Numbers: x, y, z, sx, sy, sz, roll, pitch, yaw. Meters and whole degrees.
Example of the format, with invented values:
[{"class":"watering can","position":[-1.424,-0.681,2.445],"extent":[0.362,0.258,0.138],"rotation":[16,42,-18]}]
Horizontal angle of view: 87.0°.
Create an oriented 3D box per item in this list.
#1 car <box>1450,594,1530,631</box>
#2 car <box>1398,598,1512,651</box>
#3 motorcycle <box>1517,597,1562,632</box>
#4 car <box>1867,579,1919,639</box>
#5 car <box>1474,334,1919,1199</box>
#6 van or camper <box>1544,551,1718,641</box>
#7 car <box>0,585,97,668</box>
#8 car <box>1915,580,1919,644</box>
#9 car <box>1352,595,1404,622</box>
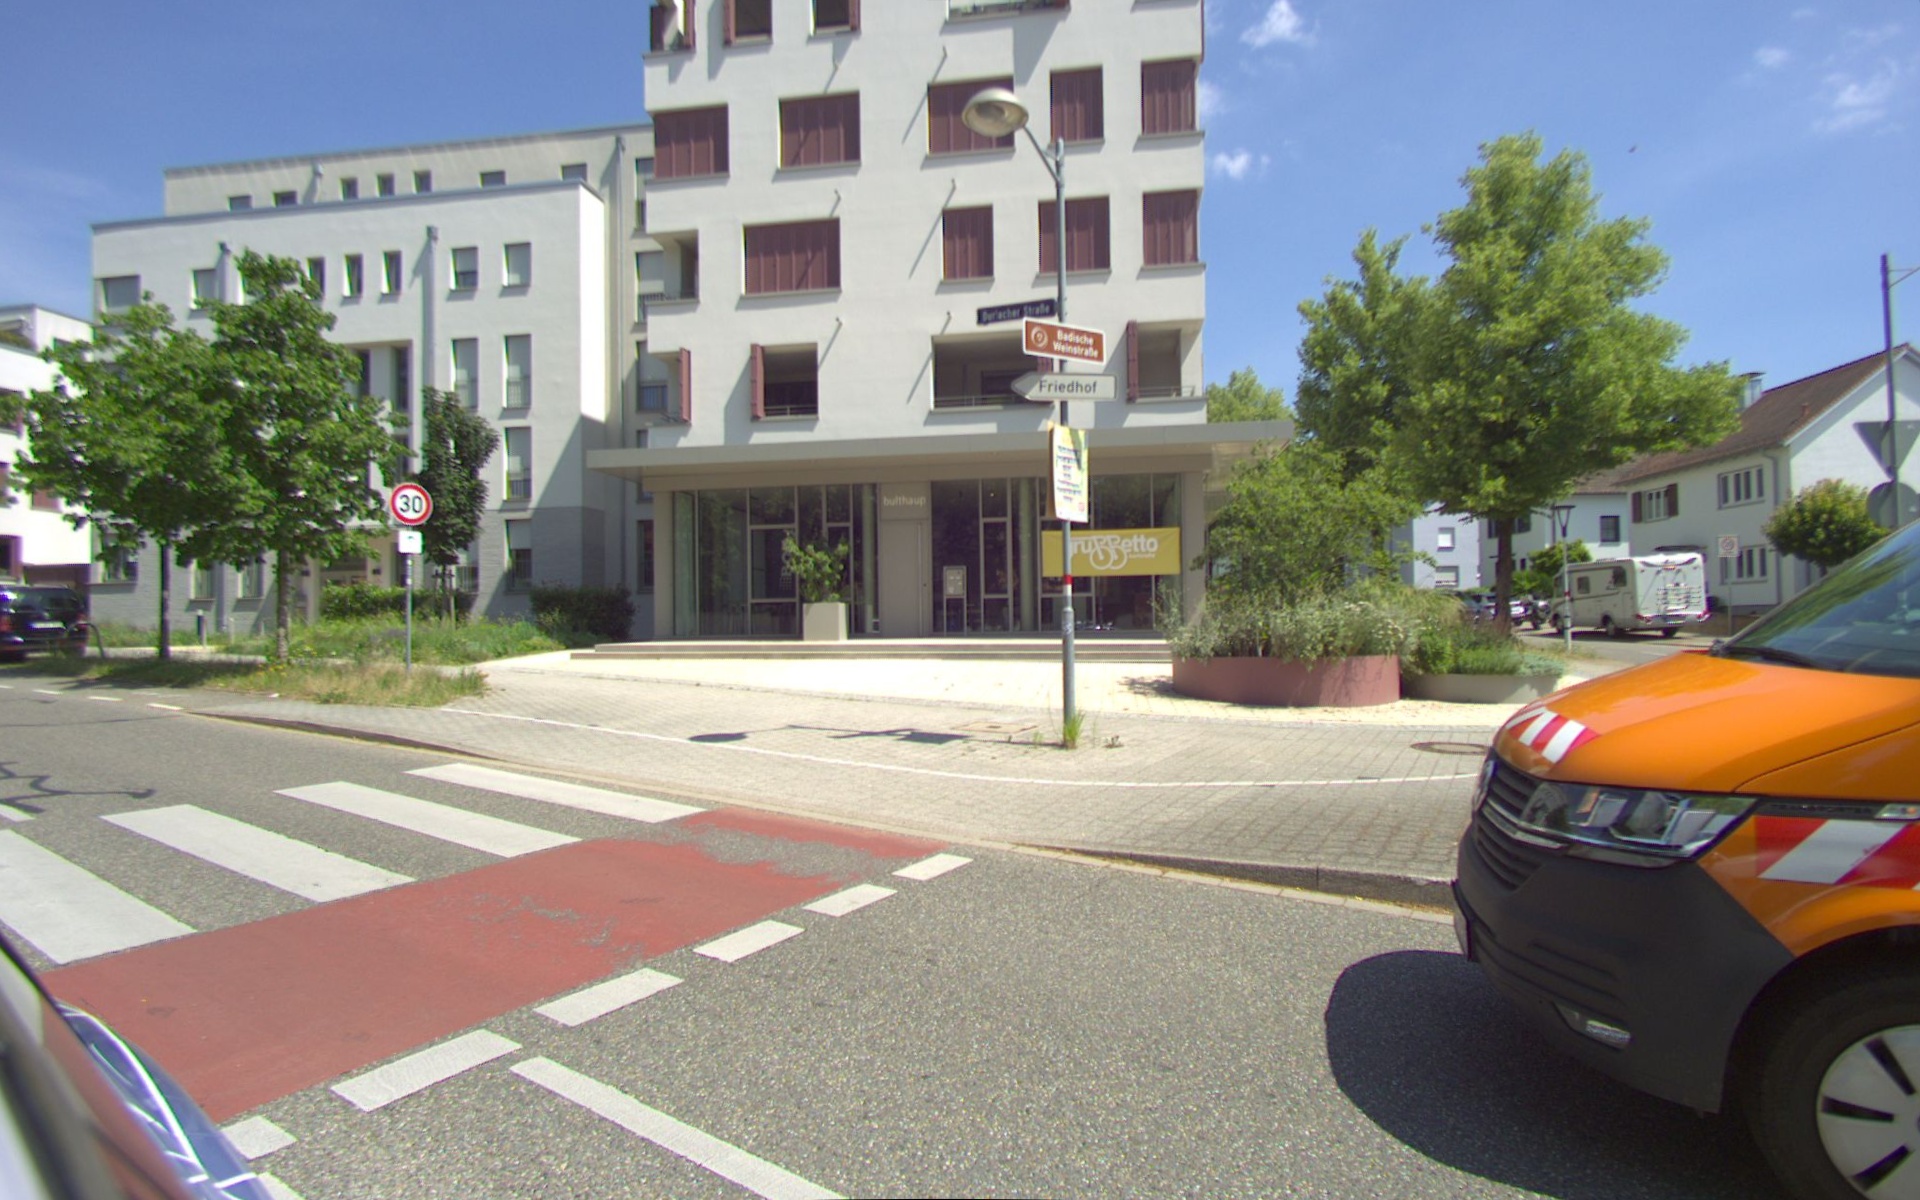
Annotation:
[{"class":"car","position":[23.023,0.527,44.090],"extent":[1.735,1.516,3.984],"rotation":[0,0,6]},{"class":"car","position":[14.869,0.706,30.629],"extent":[1.734,1.516,3.987],"rotation":[0,0,5]},{"class":"motorcycle","position":[22.728,0.557,39.694],"extent":[2.197,1.329,0.741],"rotation":[0,0,-37]},{"class":"car","position":[27.524,0.227,27.562],"extent":[3.939,1.598,1.755],"rotation":[0,0,3]},{"class":"car","position":[4.051,0.430,2.248],"extent":[4.985,1.974,1.936],"rotation":[0,1,21]},{"class":"van or camper","position":[22.415,-0.117,34.193],"extent":[2.246,2.658,5.876],"rotation":[-3,0,5]},{"class":"car","position":[-20.481,0.523,21.634],"extent":[4.000,1.650,1.684],"rotation":[0,0,27]},{"class":"car","position":[25.977,0.286,24.704],"extent":[3.929,1.598,1.759],"rotation":[0,0,-7]},{"class":"car","position":[24.297,0.464,59.000],"extent":[1.735,1.516,3.984],"rotation":[0,0,6]}]
